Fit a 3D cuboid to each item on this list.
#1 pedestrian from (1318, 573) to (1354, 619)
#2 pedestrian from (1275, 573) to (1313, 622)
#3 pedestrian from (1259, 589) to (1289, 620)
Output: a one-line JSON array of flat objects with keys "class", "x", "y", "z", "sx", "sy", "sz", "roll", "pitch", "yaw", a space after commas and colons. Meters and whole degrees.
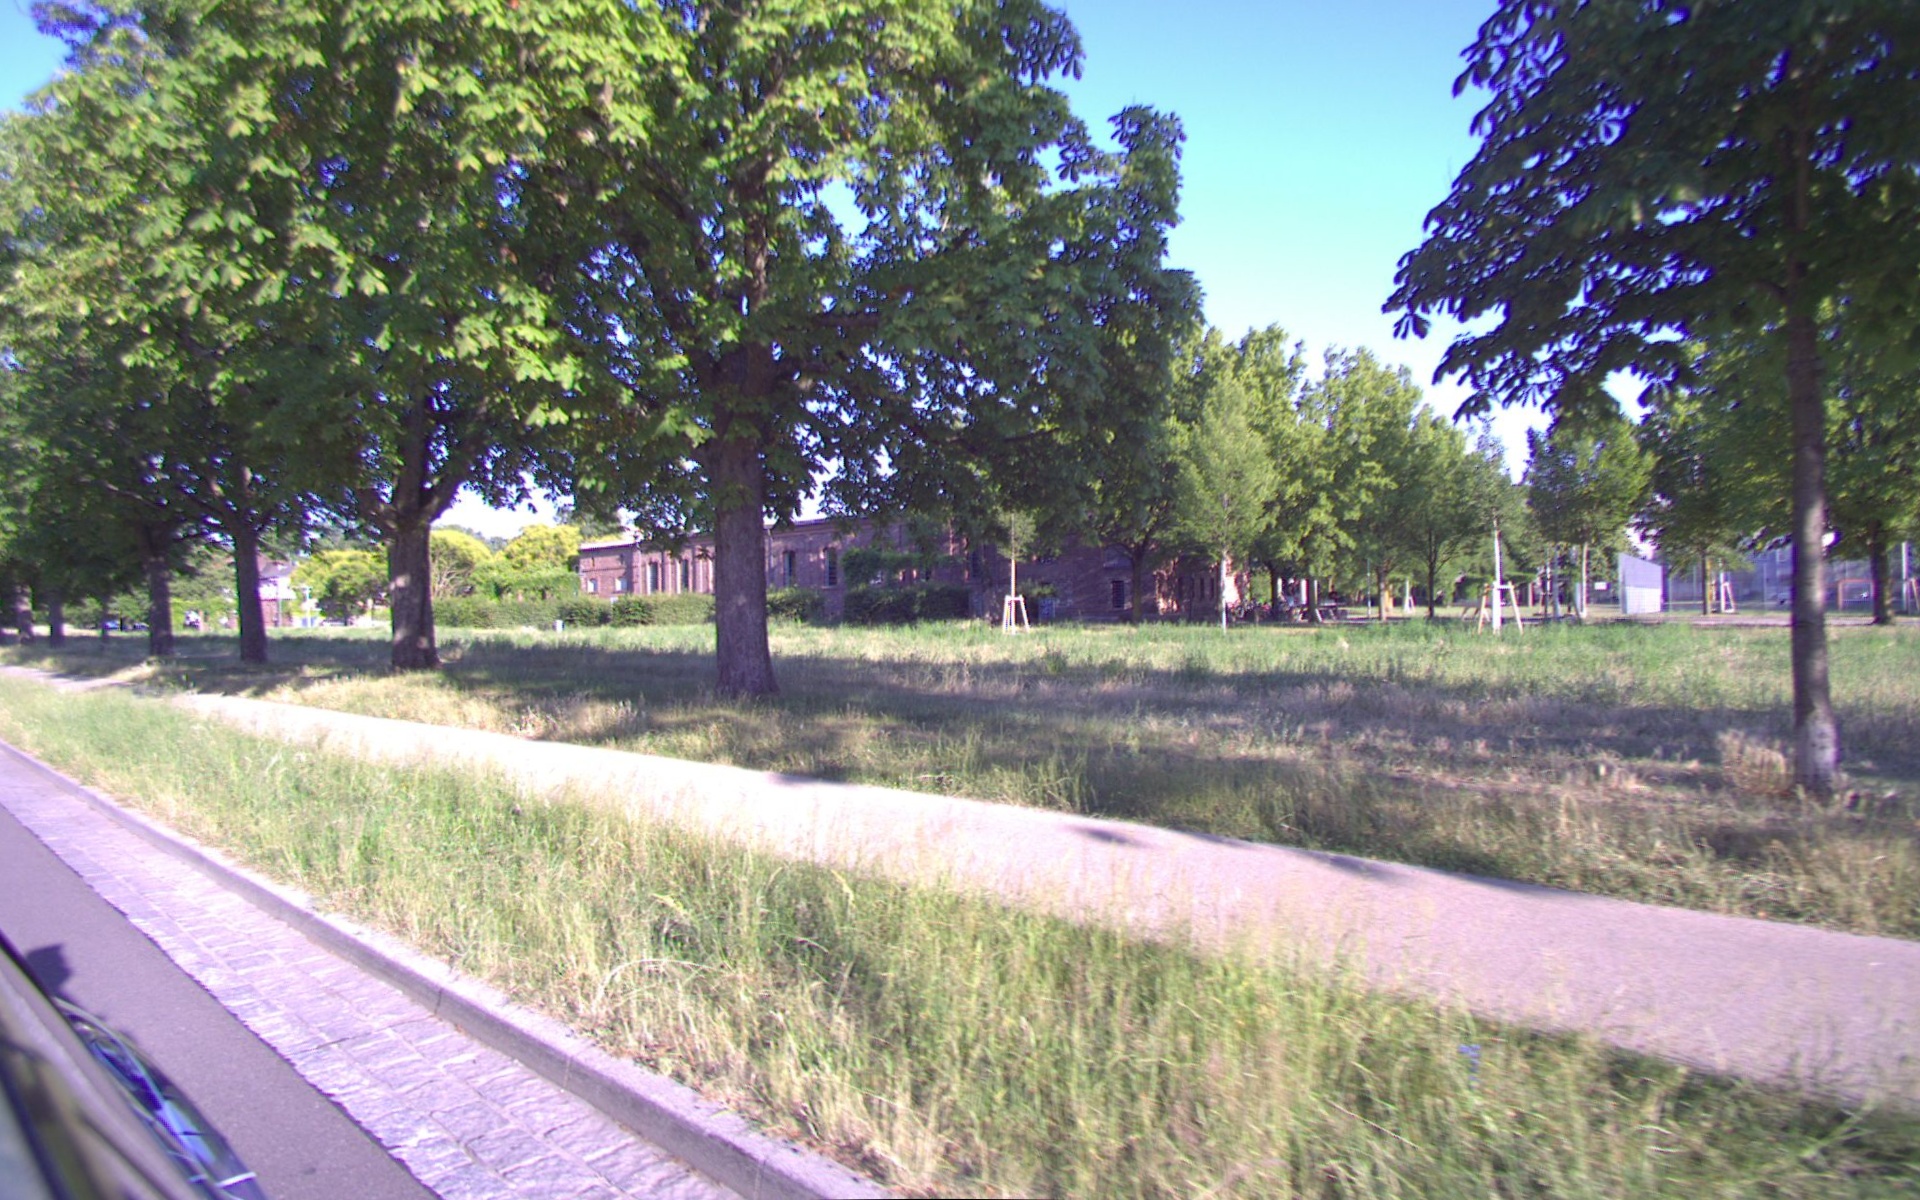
[{"class": "pedestrian", "x": 15.806, "y": -0.154, "z": 42.555, "sx": 1.099, "sy": 1.877, "sz": 0.984, "roll": -2, "pitch": 0, "yaw": -43}, {"class": "pedestrian", "x": 13.156, "y": -0.113, "z": 39.864, "sx": 1.099, "sy": 1.877, "sz": 0.984, "roll": -2, "pitch": 0, "yaw": -43}, {"class": "pedestrian", "x": 13.775, "y": 0.187, "z": 44.416, "sx": 0.980, "sy": 1.304, "sz": 1.104, "roll": -2, "pitch": 0, "yaw": 32}]
